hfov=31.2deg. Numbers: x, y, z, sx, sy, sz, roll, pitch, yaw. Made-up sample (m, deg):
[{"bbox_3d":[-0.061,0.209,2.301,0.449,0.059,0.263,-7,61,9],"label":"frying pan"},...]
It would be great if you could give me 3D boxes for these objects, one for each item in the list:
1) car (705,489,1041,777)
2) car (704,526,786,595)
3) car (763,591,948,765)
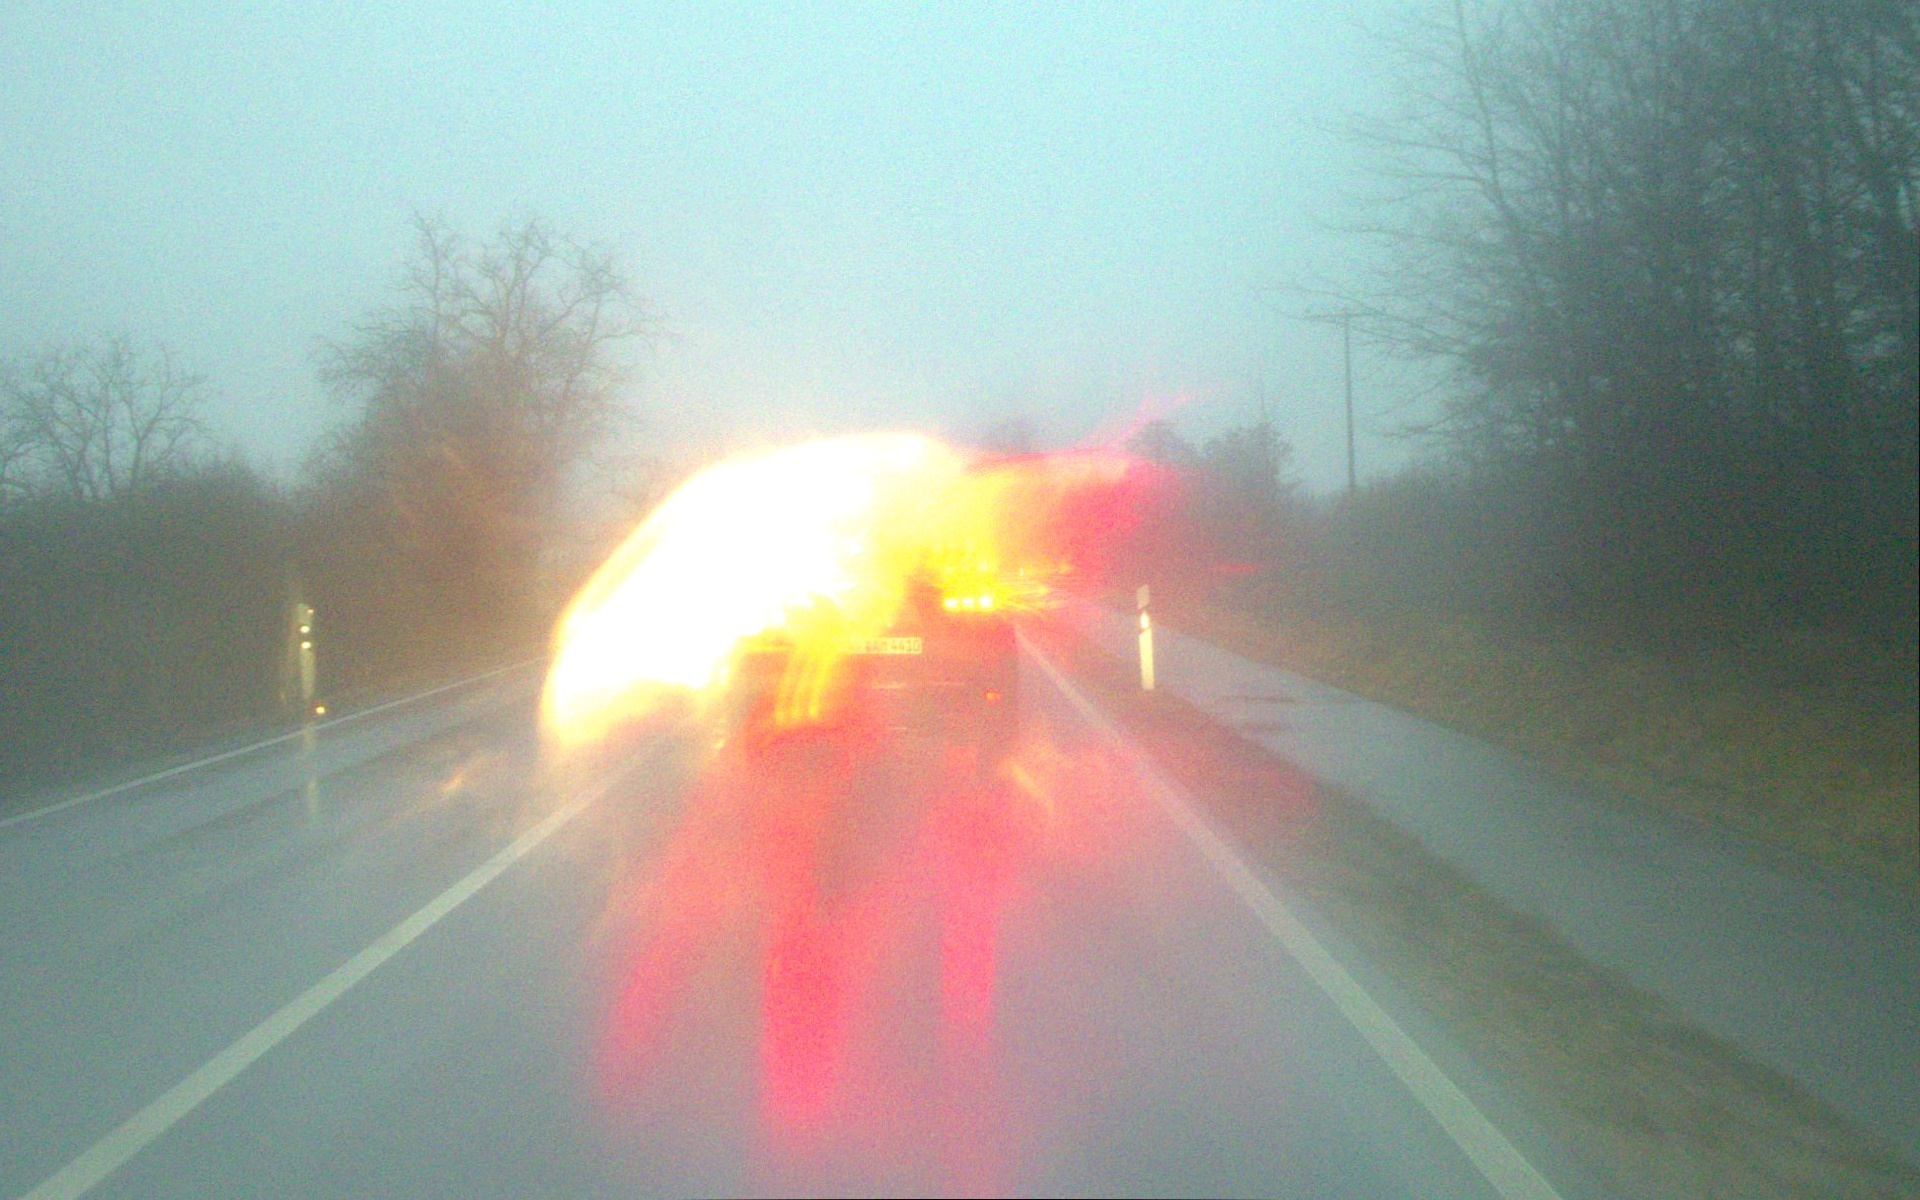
[{"bbox_3d":[-0.570,0.161,24.240,2.120,1.813,4.980,0,1,0],"label":"car"},{"bbox_3d":[-4.851,-0.903,78.092,1.632,1.452,3.983,-3,1,-1],"label":"car"},{"bbox_3d":[-1.156,0.847,39.616,1.993,1.843,4.000,1,1,0],"label":"car"}]
